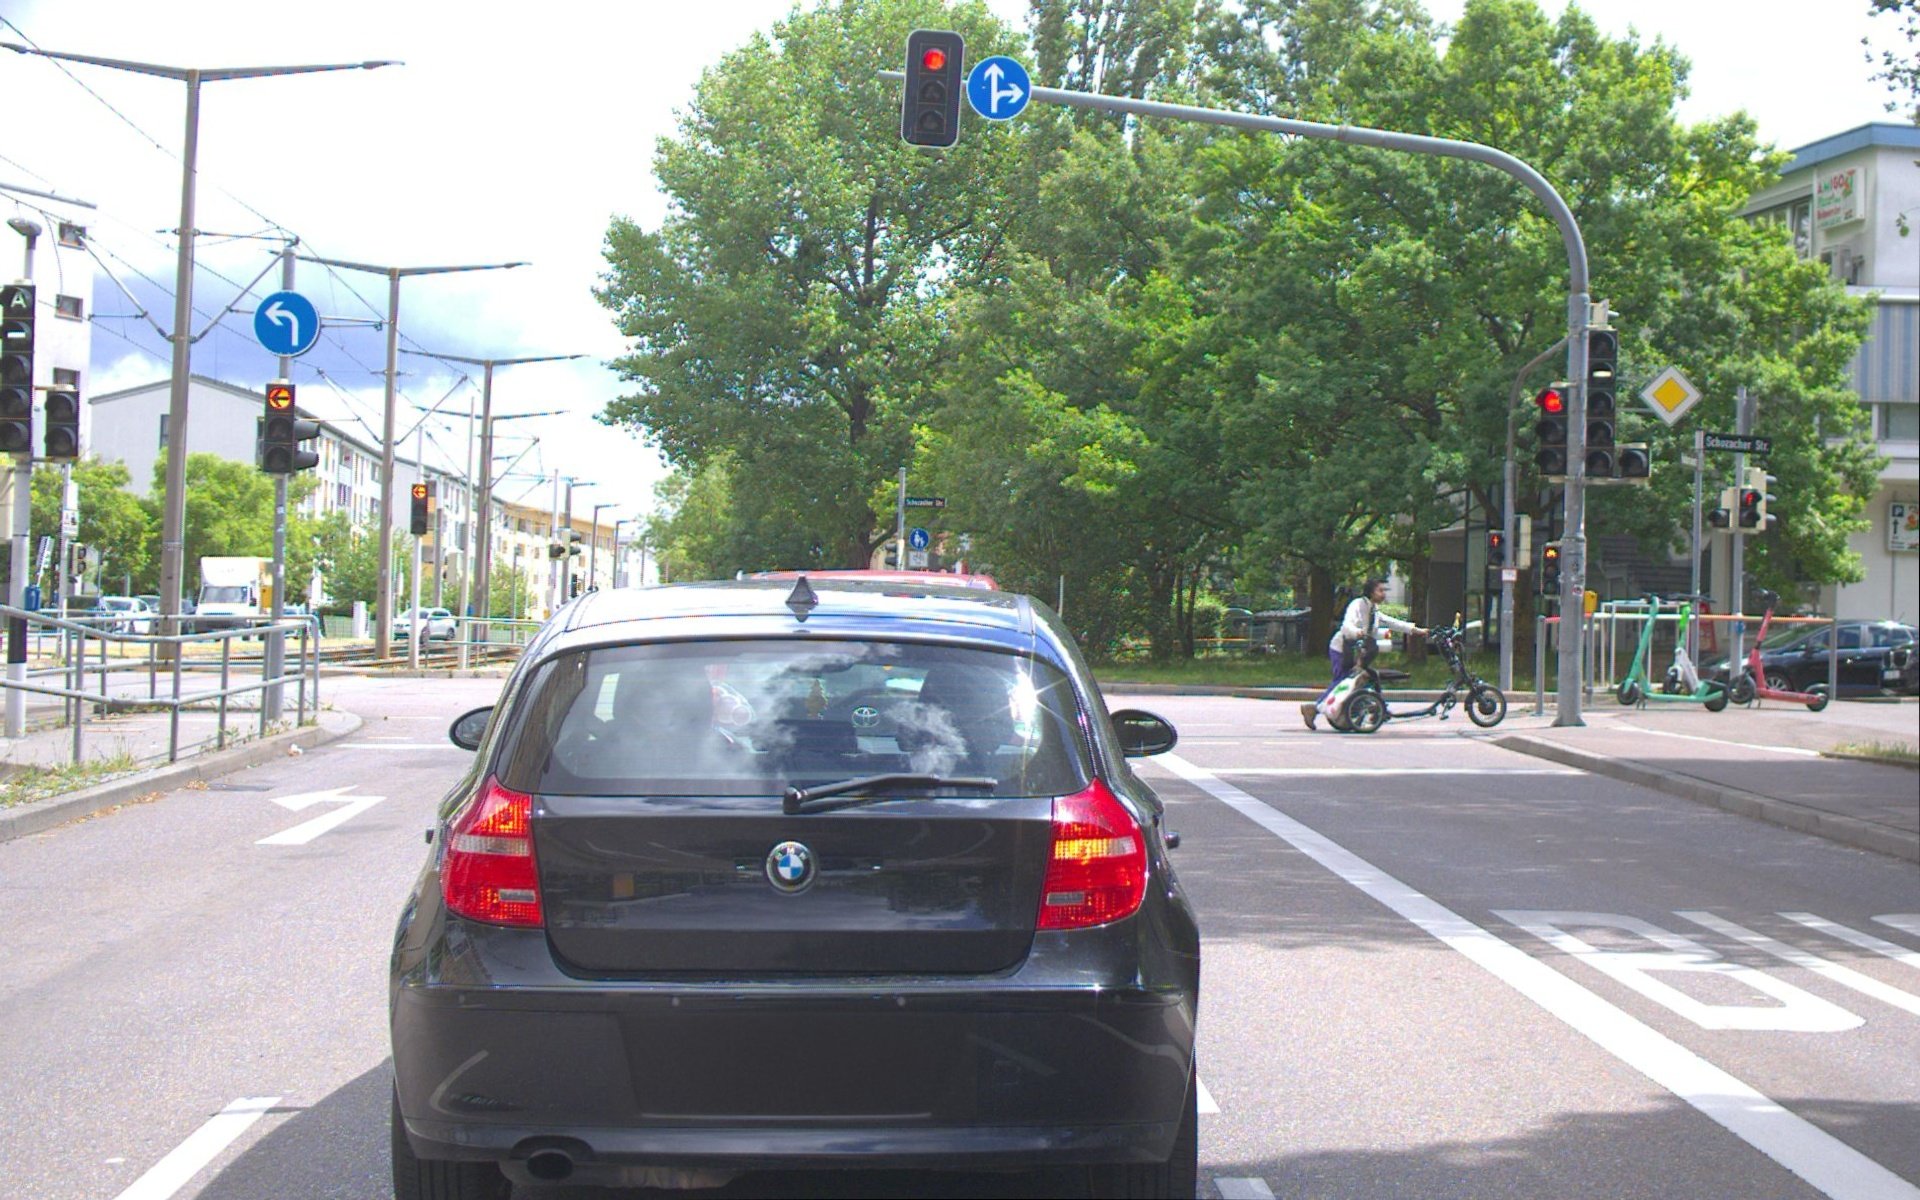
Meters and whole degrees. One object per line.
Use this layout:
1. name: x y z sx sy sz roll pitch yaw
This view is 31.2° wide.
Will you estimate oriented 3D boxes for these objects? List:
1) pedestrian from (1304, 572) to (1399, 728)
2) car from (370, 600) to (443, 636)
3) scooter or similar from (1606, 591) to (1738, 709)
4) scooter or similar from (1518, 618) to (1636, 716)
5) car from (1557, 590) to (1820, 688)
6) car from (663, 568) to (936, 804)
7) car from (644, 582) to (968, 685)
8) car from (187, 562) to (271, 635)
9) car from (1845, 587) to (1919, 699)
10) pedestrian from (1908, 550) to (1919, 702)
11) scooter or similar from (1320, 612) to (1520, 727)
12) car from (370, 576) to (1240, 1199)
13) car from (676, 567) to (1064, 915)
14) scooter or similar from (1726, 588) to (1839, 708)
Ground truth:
1. pedestrian: 3.680 0.462 32.268 0.865 1.438 0.798 1 1 7
2. car: -25.892 0.838 160.906 1.968 1.590 3.997 1 1 14
3. scooter or similar: 7.290 0.509 35.202 1.287 1.185 0.385 0 0 -16
4. scooter or similar: 6.097 0.658 33.945 1.119 0.954 0.300 0 0 -16
5. car: 11.178 0.594 52.857 3.603 1.457 1.617 0 1 -8
6. car: -1.047 0.514 22.827 1.654 1.414 3.517 1 1 -2
7. car: -2.331 0.491 51.367 4.638 1.475 2.001 0 1 -9
8. car: -27.335 -0.081 128.717 2.139 2.631 5.359 1 1 -2
9. car: 15.042 0.630 50.439 3.576 1.595 1.712 1 0 -12
10. pedestrian: 11.422 0.306 39.966 0.614 1.784 0.568 4 0 18
11. scooter or similar: 4.261 0.644 31.850 1.780 1.047 0.410 0 1 -11
12. car: -0.265 0.670 8.341 1.654 1.414 3.517 1 1 1
13. car: -0.369 0.568 16.033 1.594 1.414 3.517 1 1 0
14. scooter or similar: 8.621 0.501 36.038 1.106 1.253 0.332 0 0 -12
